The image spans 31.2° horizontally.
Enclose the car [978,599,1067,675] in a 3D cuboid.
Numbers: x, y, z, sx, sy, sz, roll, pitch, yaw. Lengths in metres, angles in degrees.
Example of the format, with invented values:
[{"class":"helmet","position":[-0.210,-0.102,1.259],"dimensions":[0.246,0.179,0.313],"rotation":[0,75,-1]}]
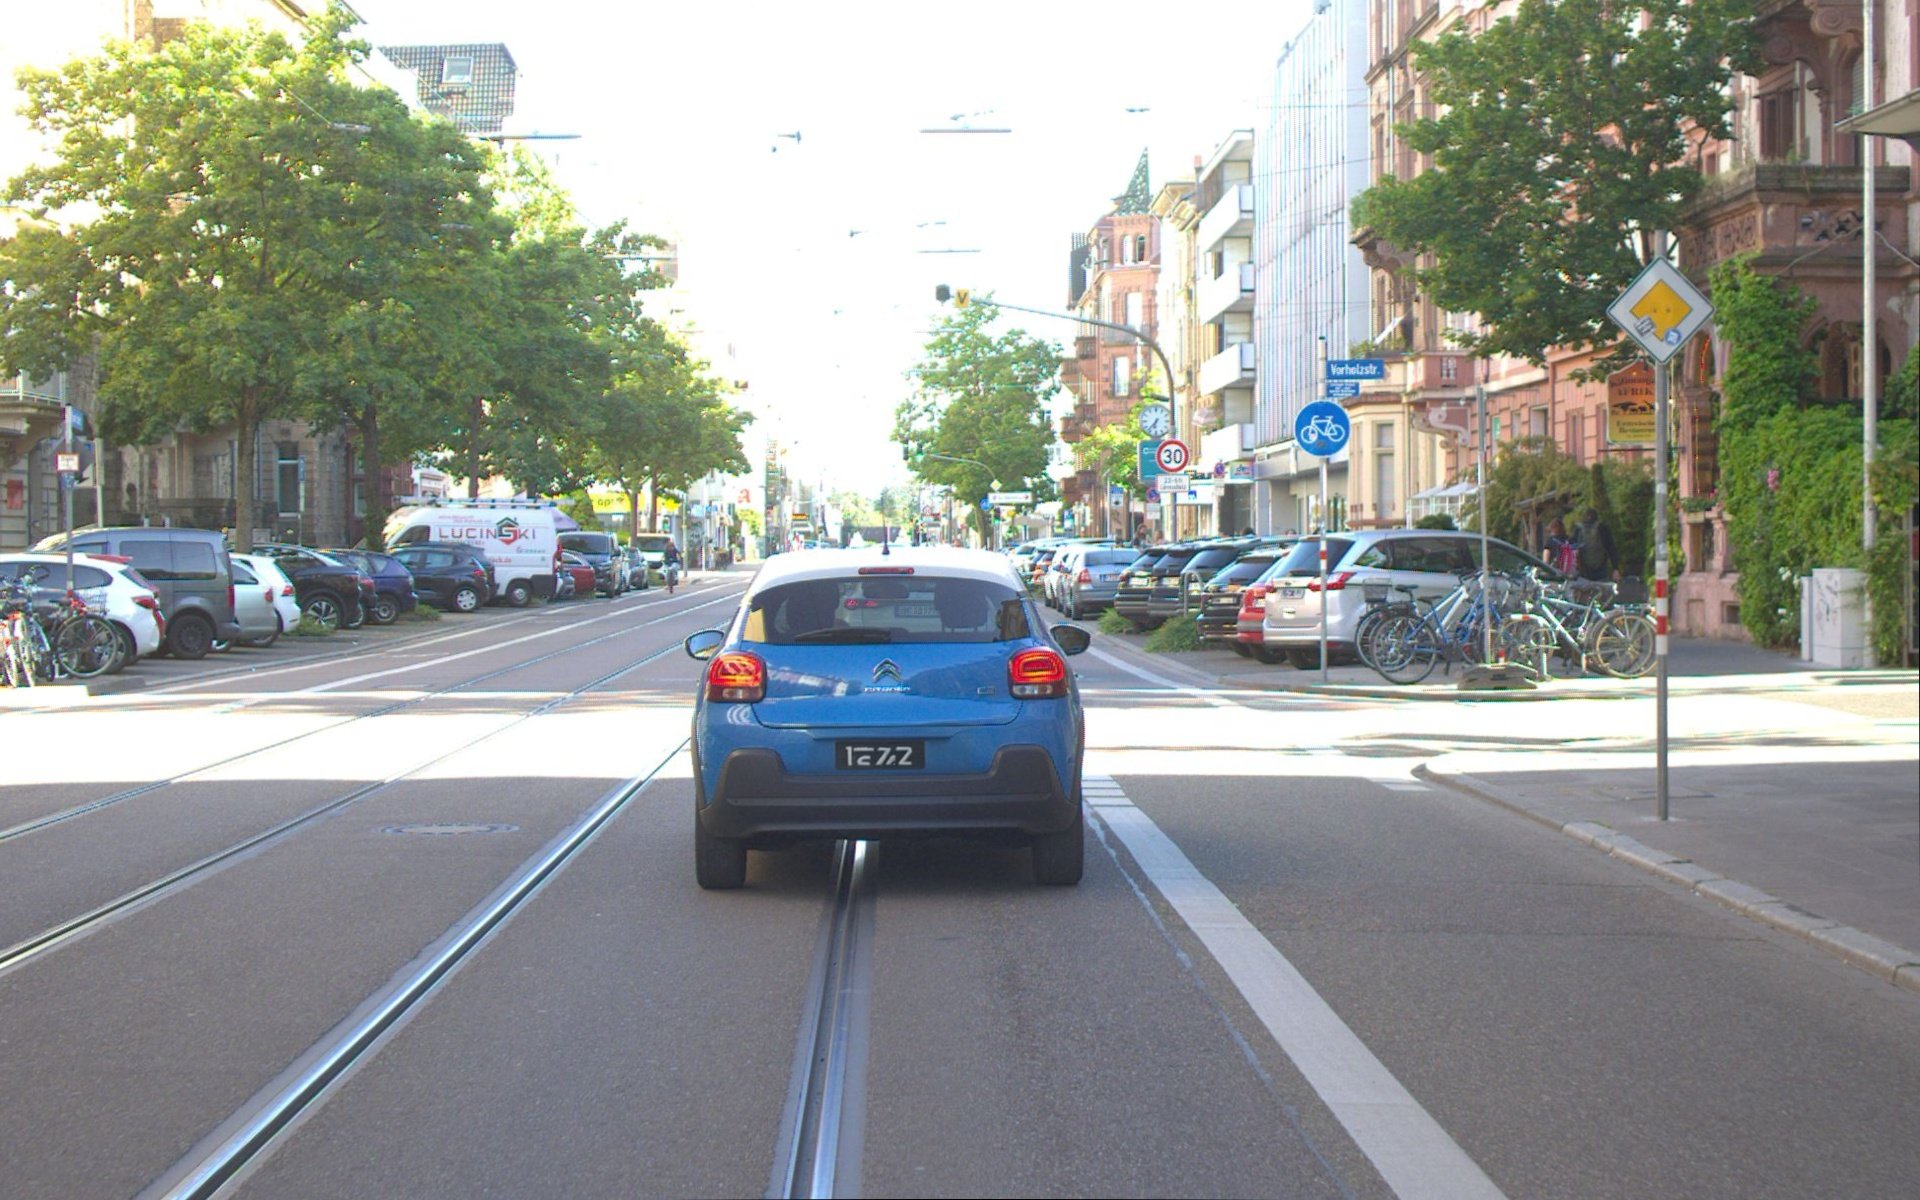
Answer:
[{"class":"car","position":[1.367,0.810,76.627],"dimensions":[1.873,1.590,4.000],"rotation":[0,1,-1]}]

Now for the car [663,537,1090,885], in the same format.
[{"class":"car","position":[-0.383,0.441,16.039],"dimensions":[1.762,1.436,3.557],"rotation":[0,1,-1]}]

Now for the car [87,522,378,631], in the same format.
[{"class":"car","position":[-12.213,-0.396,57.812],"dimensions":[4.353,1.777,1.996],"rotation":[0,1,-33]}]

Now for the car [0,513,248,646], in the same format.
[{"class":"car","position":[-11.991,-0.288,47.584],"dimensions":[3.810,1.778,1.797],"rotation":[0,1,-29]}]

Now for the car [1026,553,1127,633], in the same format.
[{"class":"car","position":[2.383,-0.167,71.167],"dimensions":[1.873,1.590,4.719],"rotation":[0,1,-1]}]

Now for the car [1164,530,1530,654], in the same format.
[{"class":"car","position":[5.183,-0.113,46.048],"dimensions":[4.433,1.590,2.089],"rotation":[0,1,-25]}]

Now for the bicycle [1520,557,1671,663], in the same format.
[{"class":"bicycle","position":[6.868,0.106,37.188],"dimensions":[1.556,1.123,0.551],"rotation":[0,1,6]}]

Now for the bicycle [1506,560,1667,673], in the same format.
[{"class":"bicycle","position":[6.355,0.160,34.901],"dimensions":[1.556,1.123,0.551],"rotation":[0,1,6]}]

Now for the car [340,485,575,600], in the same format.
[{"class":"car","position":[-12.245,-1.371,83.912],"dimensions":[5.370,2.739,1.806],"rotation":[0,1,-30]}]

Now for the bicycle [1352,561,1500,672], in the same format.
[{"class":"bicycle","position":[4.776,0.171,35.244],"dimensions":[1.397,1.123,0.551],"rotation":[0,1,-12]}]

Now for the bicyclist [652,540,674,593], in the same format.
[{"class":"bicyclist","position":[-9.404,-1.054,108.748],"dimensions":[0.634,1.675,0.727],"rotation":[0,0,-1]}]

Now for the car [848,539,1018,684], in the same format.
[{"class":"car","position":[-0.321,0.103,40.179],"dimensions":[1.873,1.590,4.000],"rotation":[0,1,-1]}]

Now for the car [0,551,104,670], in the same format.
[{"class":"car","position":[-11.662,0.103,38.928],"dimensions":[3.460,1.333,1.624],"rotation":[0,1,-35]}]

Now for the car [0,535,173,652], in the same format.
[{"class":"car","position":[-12.189,-0.092,44.725],"dimensions":[3.459,1.468,1.649],"rotation":[-1,2,-30]}]

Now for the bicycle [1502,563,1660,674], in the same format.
[{"class":"bicycle","position":[6.404,0.187,35.484],"dimensions":[1.556,1.123,0.528],"rotation":[0,1,6]}]

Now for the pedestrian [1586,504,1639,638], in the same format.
[{"class":"pedestrian","position":[8.707,-0.386,45.880],"dimensions":[0.518,1.772,0.864],"rotation":[0,1,-1]}]

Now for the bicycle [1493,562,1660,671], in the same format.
[{"class":"bicycle","position":[6.459,0.166,36.068],"dimensions":[1.675,1.123,0.551],"rotation":[0,1,6]}]

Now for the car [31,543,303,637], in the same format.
[{"class":"car","position":[-12.406,-0.167,53.778],"dimensions":[3.831,1.425,1.766],"rotation":[0,1,-26]}]

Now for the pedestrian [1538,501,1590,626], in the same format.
[{"class":"pedestrian","position":[8.030,-0.484,45.733],"dimensions":[0.518,1.643,0.864],"rotation":[0,1,-1]}]

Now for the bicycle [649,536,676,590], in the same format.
[{"class":"bicycle","position":[-9.413,-1.179,108.739],"dimensions":[0.680,1.673,2.097],"rotation":[0,1,-1]}]

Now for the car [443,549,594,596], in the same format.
[{"class":"car","position":[-12.043,-0.753,93.870],"dimensions":[3.796,1.261,1.516],"rotation":[0,1,-26]}]

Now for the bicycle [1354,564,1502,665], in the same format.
[{"class":"bicycle","position":[5.022,0.152,36.958],"dimensions":[1.556,1.075,0.307],"rotation":[0,0,6]}]

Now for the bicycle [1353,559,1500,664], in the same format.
[{"class":"bicycle","position":[5.054,0.122,37.283],"dimensions":[1.560,1.123,0.294],"rotation":[0,0,6]}]

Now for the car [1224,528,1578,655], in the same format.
[{"class":"car","position":[5.523,-0.109,43.055],"dimensions":[3.986,1.531,1.919],"rotation":[0,1,-25]}]

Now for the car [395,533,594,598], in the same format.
[{"class":"car","position":[-11.889,-0.872,87.870],"dimensions":[4.756,1.612,1.712],"rotation":[0,1,-33]}]

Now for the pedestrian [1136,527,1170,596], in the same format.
[{"class":"pedestrian","position":[4.481,-0.897,79.756],"dimensions":[0.711,1.601,0.654],"rotation":[0,0,-2]}]

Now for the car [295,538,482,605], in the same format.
[{"class":"car","position":[-12.995,-0.639,78.108],"dimensions":[3.986,1.484,1.807],"rotation":[0,1,-17]}]

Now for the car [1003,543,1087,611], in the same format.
[{"class":"car","position":[2.023,-0.560,82.607],"dimensions":[1.873,1.590,4.000],"rotation":[0,1,-1]}]

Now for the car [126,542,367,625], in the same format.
[{"class":"car","position":[-13.191,-0.311,63.606],"dimensions":[3.987,1.484,1.806],"rotation":[0,1,-33]}]

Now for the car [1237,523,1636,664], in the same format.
[{"class":"car","position":[5.628,-0.082,40.602],"dimensions":[4.350,1.590,1.854],"rotation":[0,1,-25]}]

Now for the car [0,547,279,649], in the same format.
[{"class":"car","position":[-12.173,-0.038,50.278],"dimensions":[4.006,1.444,1.699],"rotation":[0,1,-33]}]

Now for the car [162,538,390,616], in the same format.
[{"class":"car","position":[-13.256,-0.445,66.669],"dimensions":[3.986,1.484,1.806],"rotation":[0,1,-28]}]

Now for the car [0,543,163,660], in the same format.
[{"class":"car","position":[-11.819,0.001,41.783],"dimensions":[3.780,1.395,1.755],"rotation":[0,1,-33]}]

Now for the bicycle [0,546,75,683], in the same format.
[{"class":"bicycle","position":[-9.929,0.129,36.410],"dimensions":[0.681,1.315,2.436],"rotation":[0,3,-5]}]

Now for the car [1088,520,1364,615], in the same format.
[{"class":"car","position":[4.586,-0.549,59.237],"dimensions":[4.302,1.590,1.983],"rotation":[0,1,-25]}]

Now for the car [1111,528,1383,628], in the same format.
[{"class":"car","position":[4.753,-0.364,56.967],"dimensions":[3.986,1.590,2.088],"rotation":[0,1,-25]}]

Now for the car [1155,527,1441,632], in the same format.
[{"class":"car","position":[5.271,-0.322,53.655],"dimensions":[3.986,1.590,1.960],"rotation":[0,1,-25]}]

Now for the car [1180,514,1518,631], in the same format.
[{"class":"car","position":[5.512,-0.385,48.719],"dimensions":[4.317,1.590,2.046],"rotation":[0,1,-25]}]
